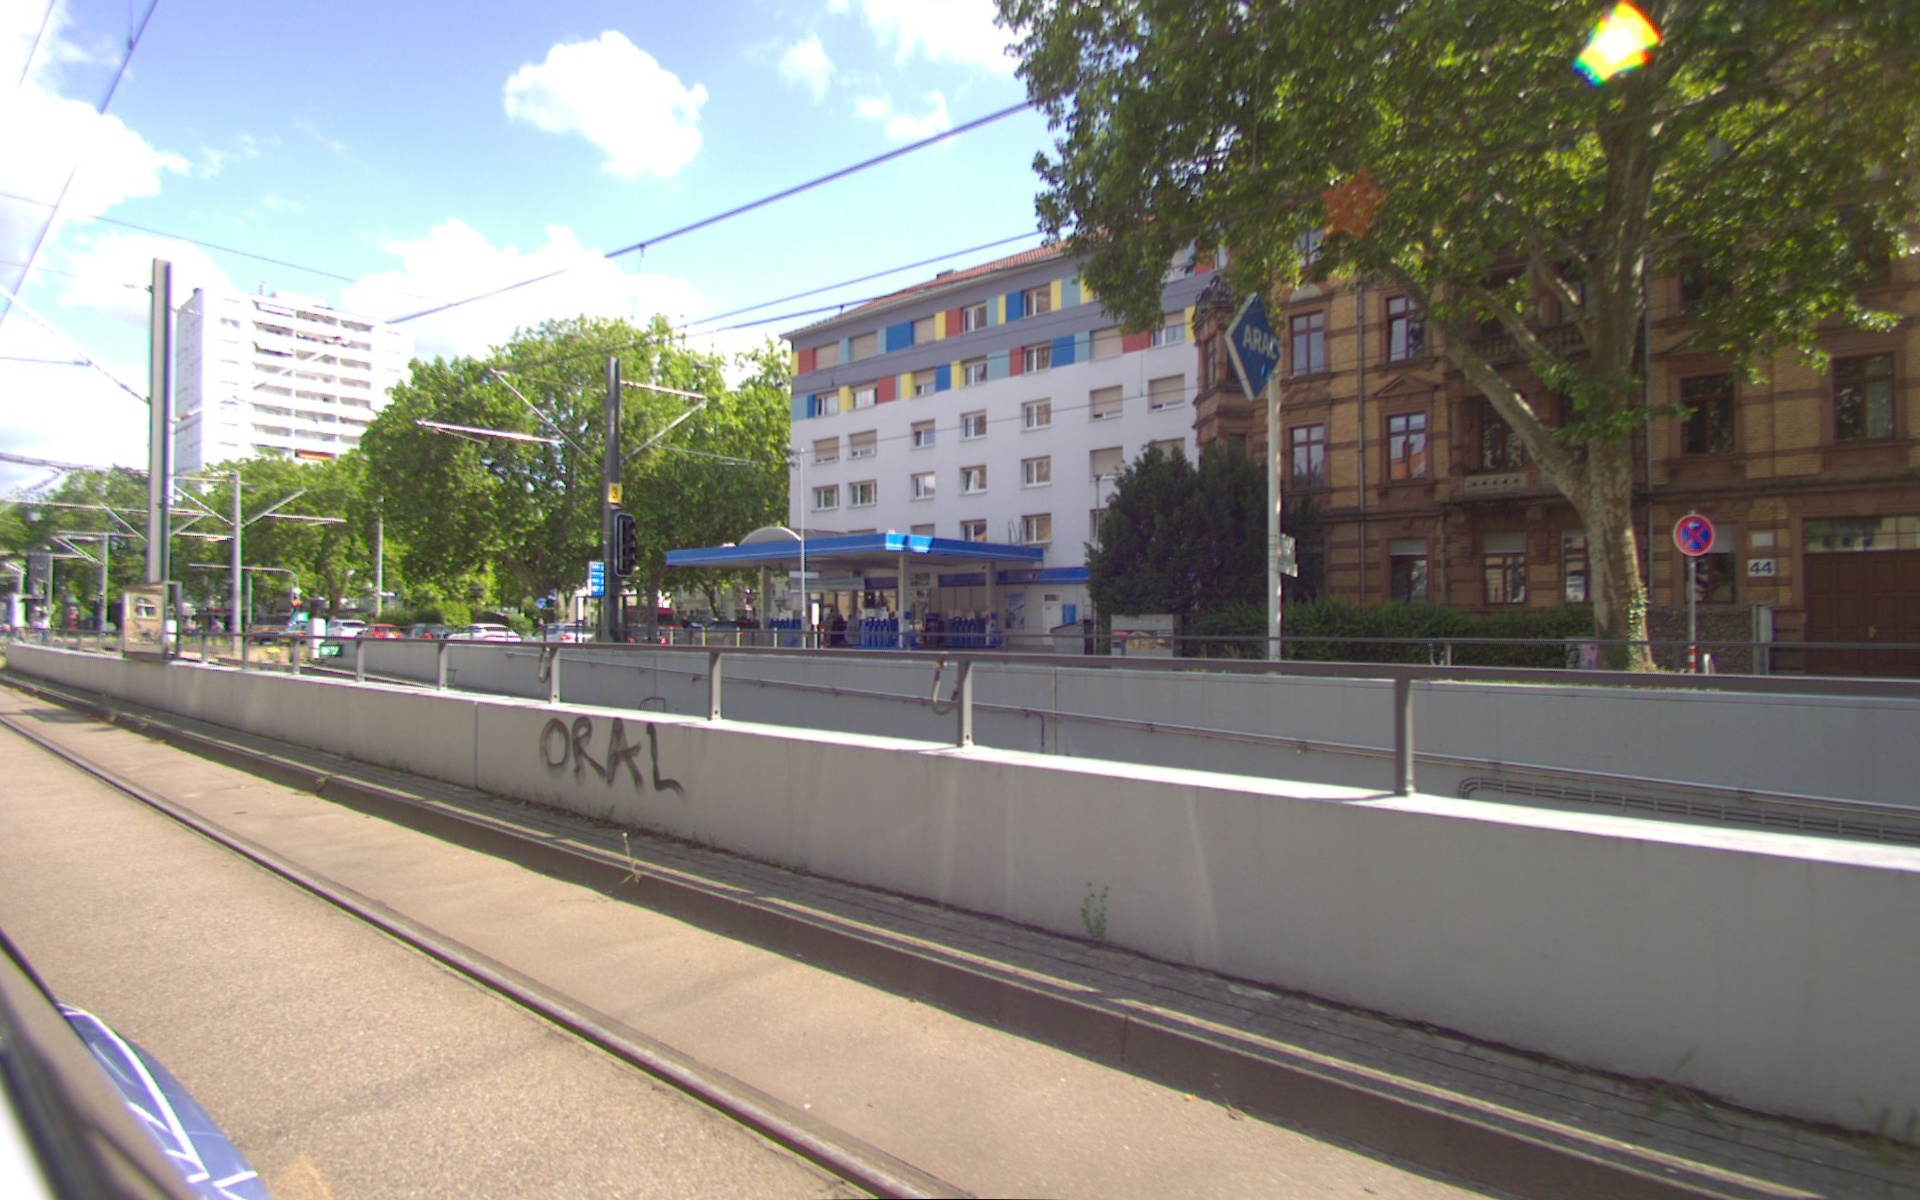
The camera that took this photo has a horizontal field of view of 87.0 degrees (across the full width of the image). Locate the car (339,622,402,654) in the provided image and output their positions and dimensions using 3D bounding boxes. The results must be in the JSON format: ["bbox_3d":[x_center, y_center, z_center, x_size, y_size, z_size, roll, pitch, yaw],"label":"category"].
[{"bbox_3d":[-31.837,2.083,54.607,4.141,1.619,1.694,-4,-4,41],"label":"car"}]

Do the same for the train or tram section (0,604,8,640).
[{"bbox_3d":[-100.048,2.300,103.800,11.378,3.588,2.765,-2,-2,44],"label":"train or tram section"}]

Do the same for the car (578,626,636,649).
[{"bbox_3d":[-22.840,2.435,65.451,3.997,1.421,1.734,-2,-3,40],"label":"car"}]

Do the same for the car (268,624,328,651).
[{"bbox_3d":[-42.295,2.415,64.599,5.151,1.665,1.847,-2,-4,41],"label":"car"}]

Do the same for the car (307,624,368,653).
[{"bbox_3d":[-36.706,2.244,59.624,4.676,1.619,1.741,-1,-2,41],"label":"car"}]

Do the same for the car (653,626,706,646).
[{"bbox_3d":[-19.391,2.489,69.896,3.997,1.304,1.458,-2,-5,40],"label":"car"}]

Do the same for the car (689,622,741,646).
[{"bbox_3d":[-17.344,2.419,71.624,3.997,1.616,1.510,-2,-4,40],"label":"car"}]

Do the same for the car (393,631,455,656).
[{"bbox_3d":[-26.644,2.145,50.267,3.633,1.198,1.599,-2,-3,43],"label":"car"}]

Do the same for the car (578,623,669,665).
[{"bbox_3d":[-12.154,1.563,36.441,1.649,1.427,3.785,1,-3,-44],"label":"car"}]

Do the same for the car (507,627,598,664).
[{"bbox_3d":[-16.669,1.864,41.286,4.404,1.427,1.703,-2,-4,43],"label":"car"}]

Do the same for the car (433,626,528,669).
[{"bbox_3d":[-21.803,2.167,45.926,5.074,1.618,1.927,-4,1,41],"label":"car"}]

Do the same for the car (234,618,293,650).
[{"bbox_3d":[-47.672,2.339,69.222,5.332,2.002,2.053,-4,-4,41],"label":"car"}]

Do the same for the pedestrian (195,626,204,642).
[{"bbox_3d":[-79.905,3.542,106.332,0.648,1.716,0.662,-2,-3,43],"label":"pedestrian"}]

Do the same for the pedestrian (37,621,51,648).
[{"bbox_3d":[-61.847,2.333,68.335,0.556,1.746,0.521,-2,-4,36],"label":"pedestrian"}]

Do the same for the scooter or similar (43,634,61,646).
[{"bbox_3d":[-61.598,2.695,68.660,0.553,0.810,0.830,-2,-2,36],"label":"scooter or similar"}]
